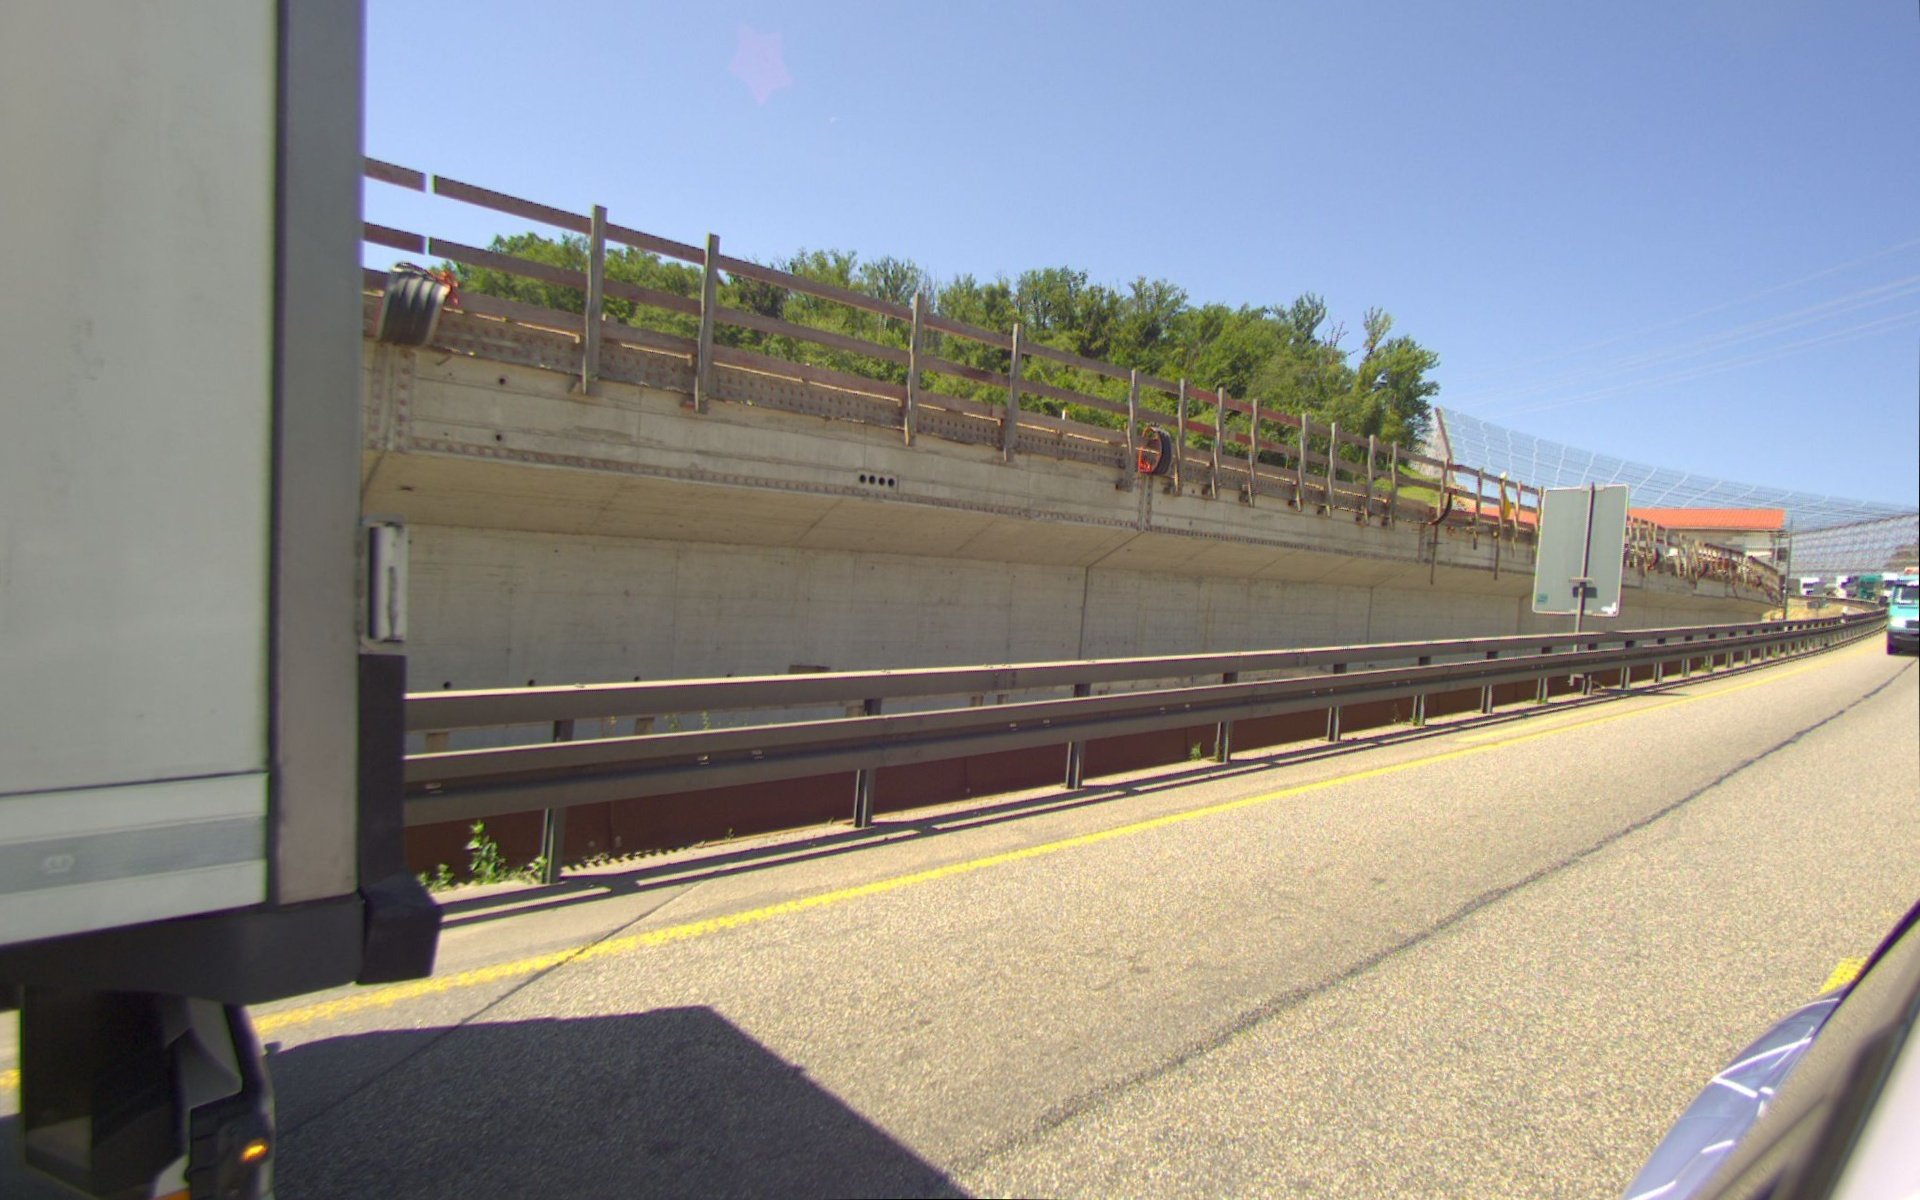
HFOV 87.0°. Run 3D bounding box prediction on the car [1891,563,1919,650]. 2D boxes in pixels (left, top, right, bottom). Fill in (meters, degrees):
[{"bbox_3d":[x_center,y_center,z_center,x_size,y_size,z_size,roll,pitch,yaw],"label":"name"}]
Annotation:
[{"bbox_3d":[28.825,0.141,29.305,6.786,2.355,2.214,-1,1,-43],"label":"car"}]
